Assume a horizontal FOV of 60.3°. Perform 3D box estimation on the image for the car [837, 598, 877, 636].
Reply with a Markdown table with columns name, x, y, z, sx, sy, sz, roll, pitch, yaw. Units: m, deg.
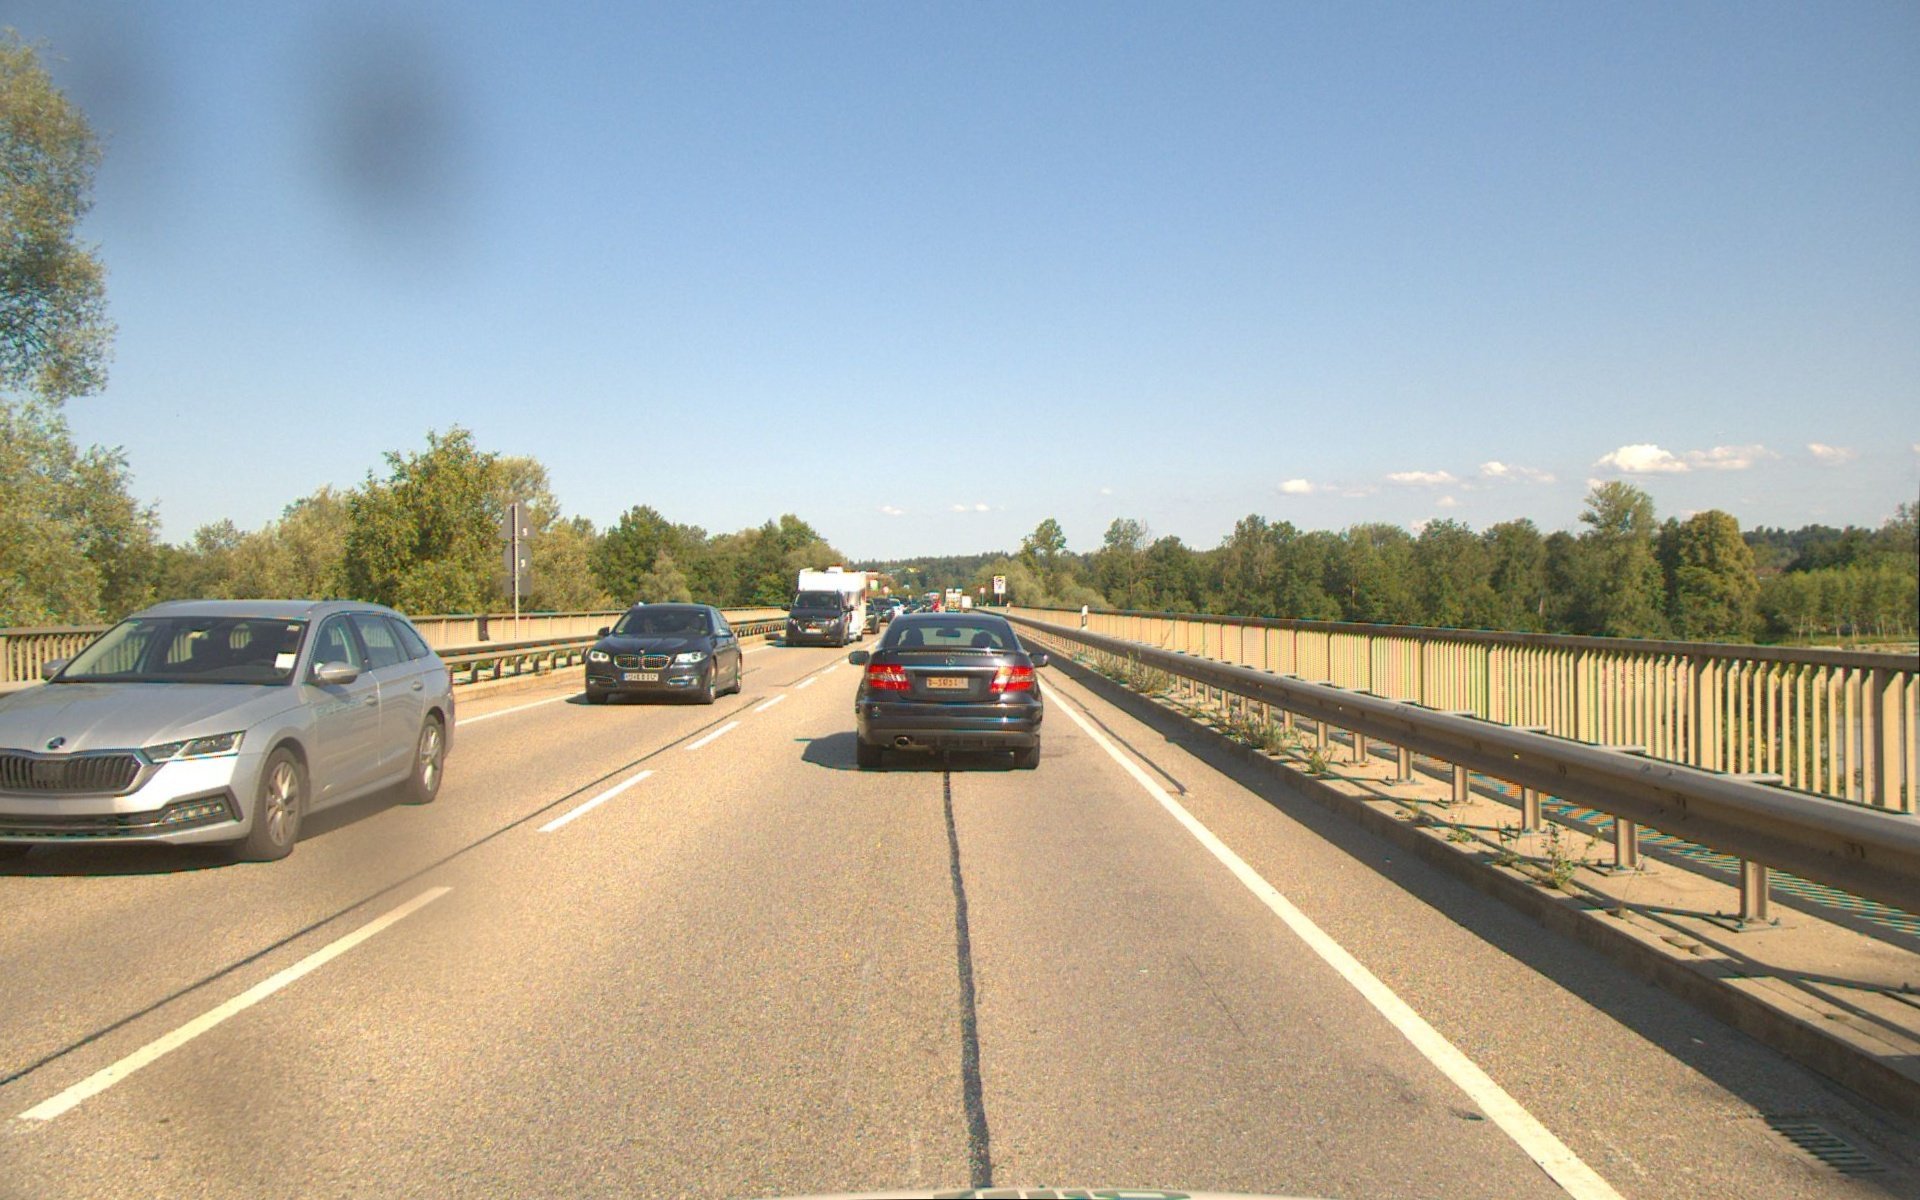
| name | x | y | z | sx | sy | sz | roll | pitch | yaw |
| --- | --- | --- | --- | --- | --- | --- | --- | --- | --- |
| car | -4.786 | 0.763 | 77.273 | 1.766 | 1.690 | 4.431 | 0 | 0 | -2 |

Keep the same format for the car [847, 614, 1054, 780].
| name | x | y | z | sx | sy | sz | roll | pitch | yaw |
| --- | --- | --- | --- | --- | --- | --- | --- | --- | --- |
| car | -0.024 | 0.840 | 16.038 | 1.756 | 1.400 | 4.001 | 0 | -1 | 1 |

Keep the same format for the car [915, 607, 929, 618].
| name | x | y | z | sx | sy | sz | roll | pitch | yaw |
| --- | --- | --- | --- | --- | --- | --- | --- | --- | --- |
| car | -5.260 | 1.726 | 231.249 | 1.770 | 1.605 | 4.197 | 0 | 0 | -4 |

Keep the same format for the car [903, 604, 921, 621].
| name | x | y | z | sx | sy | sz | roll | pitch | yaw |
| --- | --- | --- | --- | --- | --- | --- | --- | --- | --- |
| car | -4.661 | 1.198 | 160.254 | 1.730 | 1.472 | 4.454 | 2 | 0 | -2 |

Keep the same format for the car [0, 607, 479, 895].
| name | x | y | z | sx | sy | sz | roll | pitch | yaw |
| --- | --- | --- | --- | --- | --- | --- | --- | --- | --- |
| car | -4.638 | 0.790 | 10.731 | 1.696 | 1.461 | 4.487 | -1 | 0 | 0 |

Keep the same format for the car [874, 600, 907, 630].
| name | x | y | z | sx | sy | sz | roll | pitch | yaw |
| --- | --- | --- | --- | --- | --- | --- | --- | --- | --- |
| car | -4.343 | 0.901 | 102.240 | 1.910 | 1.723 | 4.474 | 2 | 0 | -3 |

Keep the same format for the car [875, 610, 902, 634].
| name | x | y | z | sx | sy | sz | roll | pitch | yaw |
| --- | --- | --- | --- | --- | --- | --- | --- | --- | --- |
| car | -5.379 | 1.645 | 124.154 | 1.944 | 1.680 | 4.594 | 2 | 0 | -3 |

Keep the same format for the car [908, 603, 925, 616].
| name | x | y | z | sx | sy | sz | roll | pitch | yaw |
| --- | --- | --- | --- | --- | --- | --- | --- | --- | --- |
| car | -5.711 | 1.235 | 216.088 | 1.831 | 1.468 | 4.453 | 8 | 0 | -3 |

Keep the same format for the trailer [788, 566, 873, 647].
| name | x | y | z | sx | sy | sz | roll | pitch | yaw |
| --- | --- | --- | --- | --- | --- | --- | --- | --- | --- |
| trailer | -4.745 | 0.258 | 62.022 | 2.503 | 2.785 | 8.062 | 1 | 0 | 0 |

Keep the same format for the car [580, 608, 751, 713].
| name | x | y | z | sx | sy | sz | roll | pitch | yaw |
| --- | --- | --- | --- | --- | --- | --- | --- | --- | --- |
| car | -4.404 | 0.855 | 25.407 | 1.750 | 1.445 | 4.651 | -1 | 0 | 0 |

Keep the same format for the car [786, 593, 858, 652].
| name | x | y | z | sx | sy | sz | roll | pitch | yaw |
| --- | --- | --- | --- | --- | --- | --- | --- | --- | --- |
| car | -4.590 | 0.742 | 55.563 | 1.942 | 1.886 | 5.008 | -1 | 0 | 0 |
